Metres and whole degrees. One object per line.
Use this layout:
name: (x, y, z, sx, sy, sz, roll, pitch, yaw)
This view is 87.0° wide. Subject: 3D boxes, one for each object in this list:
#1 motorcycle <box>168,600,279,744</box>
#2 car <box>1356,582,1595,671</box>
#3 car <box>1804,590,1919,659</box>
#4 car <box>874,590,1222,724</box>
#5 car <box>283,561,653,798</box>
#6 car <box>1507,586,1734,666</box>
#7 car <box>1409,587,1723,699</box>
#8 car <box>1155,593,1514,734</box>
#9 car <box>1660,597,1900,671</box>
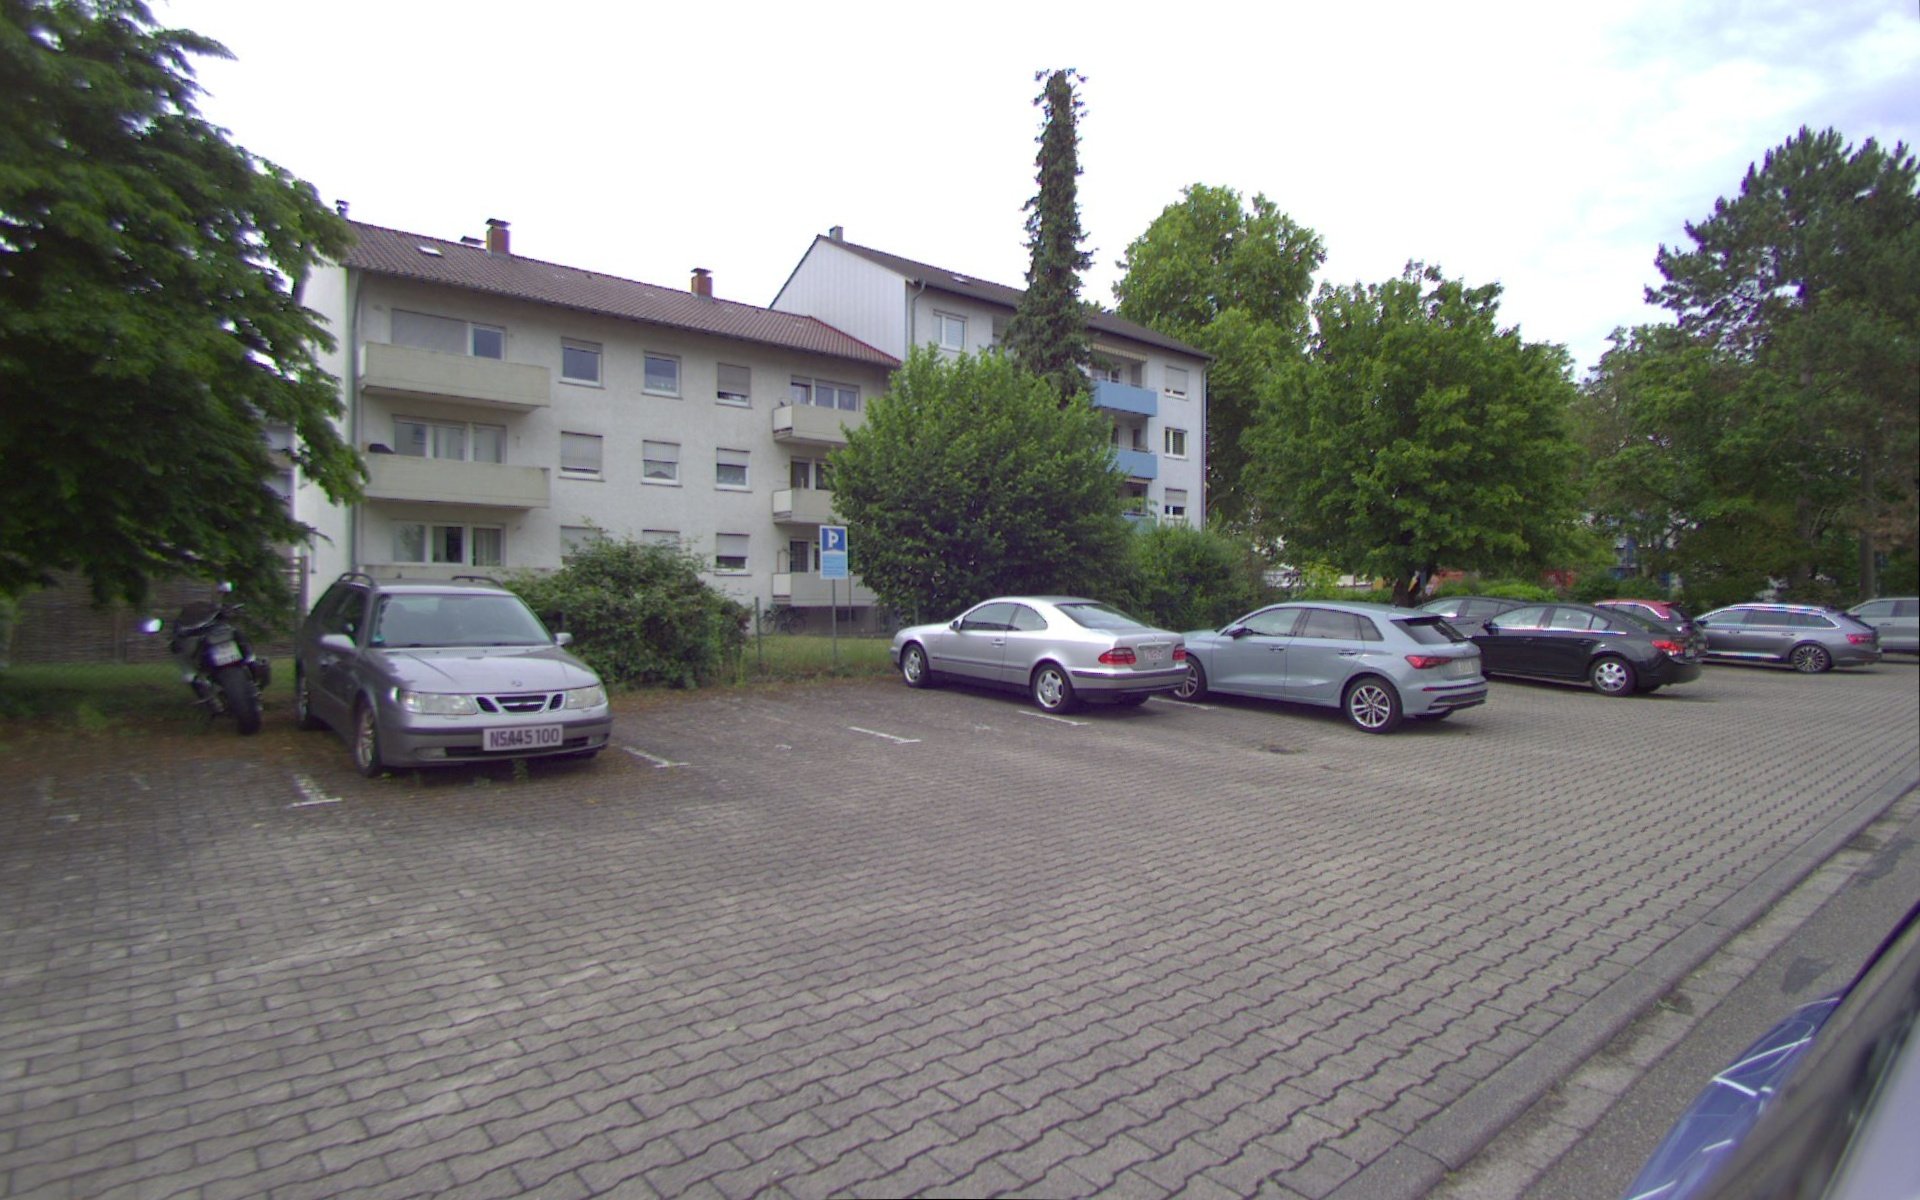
motorcycle: (-6.770, 0.600, 9.276, 0.708, 1.137, 1.614, 0, 2, -40)
car: (10.778, 0.487, 21.396, 1.756, 1.503, 4.104, 0, 3, -39)
car: (23.934, 0.607, 25.332, 1.756, 1.667, 4.101, 0, 1, -41)
car: (0.993, 0.606, 13.315, 1.992, 1.402, 4.398, 0, 1, -42)
car: (-4.570, 0.453, 8.978, 1.834, 1.549, 4.583, 0, 2, -41)
car: (15.442, 0.533, 23.846, 1.756, 1.503, 4.104, 0, 3, -39)
car: (10.427, 0.632, 17.693, 1.756, 1.503, 4.335, 0, 3, -39)
car: (4.614, 0.666, 12.902, 1.702, 1.453, 3.971, 0, 1, -42)
car: (18.990, 0.710, 23.575, 1.756, 1.504, 4.101, 0, 1, -41)
